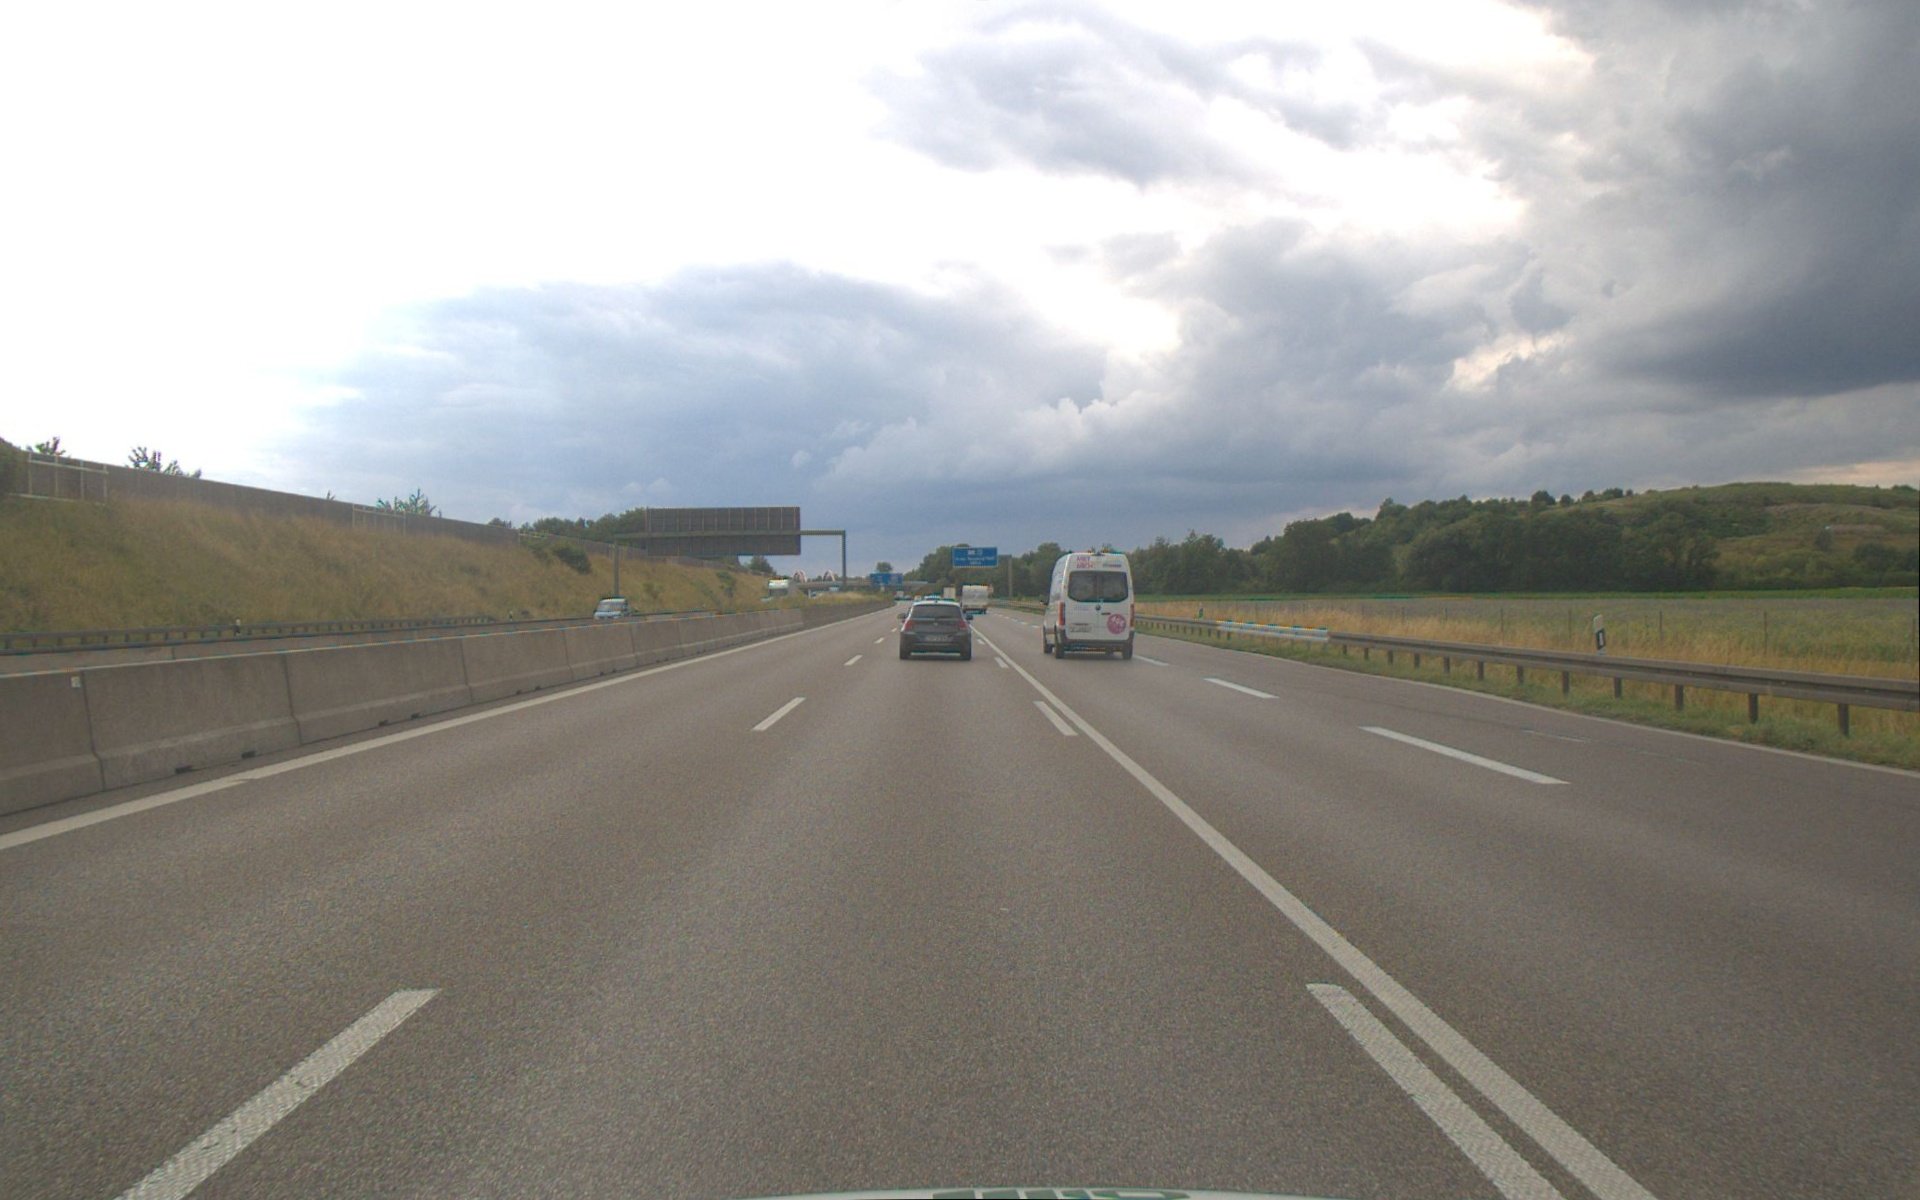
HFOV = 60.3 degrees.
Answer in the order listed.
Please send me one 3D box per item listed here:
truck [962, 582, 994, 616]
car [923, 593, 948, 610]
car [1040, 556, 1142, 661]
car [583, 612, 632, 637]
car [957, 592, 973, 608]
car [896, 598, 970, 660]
[{"bbox_3d":[1.646,-0.134,156.932,2.655,3.016,12.444,1,0,-1],"label":"truck"},{"bbox_3d":[-1.988,0.112,131.756,1.953,1.321,3.999,-1,0,-2],"label":"car"},{"bbox_3d":[3.413,0.200,44.324,2.176,2.613,6.255,0,0,-1],"label":"car"},{"bbox_3d":[-21.164,1.458,99.508,1.953,1.388,4.939,1,0,-1],"label":"car"},{"bbox_3d":[0.610,0.014,210.014,1.953,2.049,3.999,0,0,-1],"label":"car"},{"bbox_3d":[-0.667,0.671,40.911,1.708,1.413,3.999,1,0,-1],"label":"car"}]
